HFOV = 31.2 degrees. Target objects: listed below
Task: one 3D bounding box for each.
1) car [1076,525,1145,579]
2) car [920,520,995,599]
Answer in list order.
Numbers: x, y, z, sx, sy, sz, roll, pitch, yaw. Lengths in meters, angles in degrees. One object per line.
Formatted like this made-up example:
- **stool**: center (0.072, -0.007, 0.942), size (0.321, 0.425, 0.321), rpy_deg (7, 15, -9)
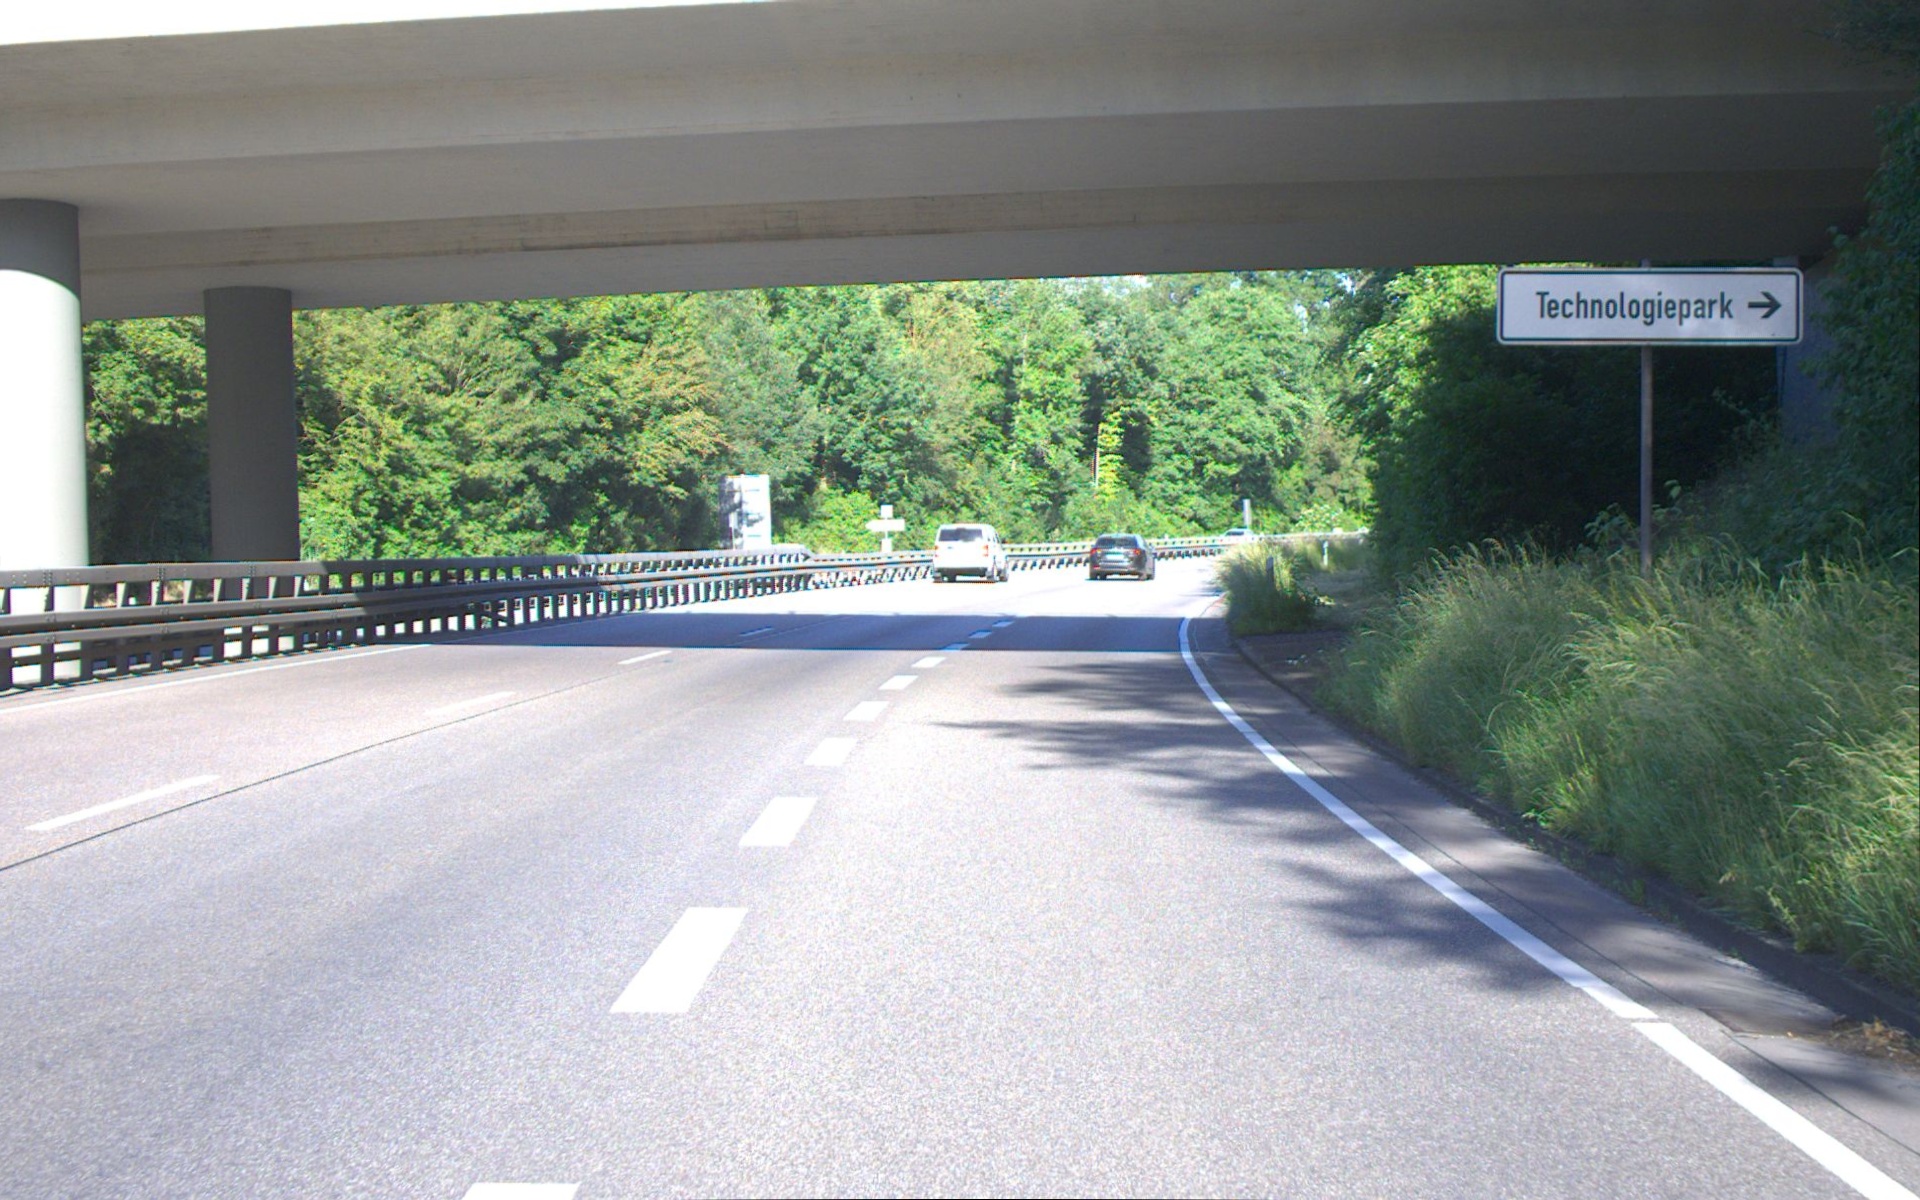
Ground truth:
- **car**: center (4.793, -1.525, 108.923), size (1.740, 1.656, 3.944), rpy_deg (-1, 1, 9)
- **car**: center (-0.054, -1.223, 103.338), size (1.994, 2.270, 4.000), rpy_deg (-1, 1, 3)
